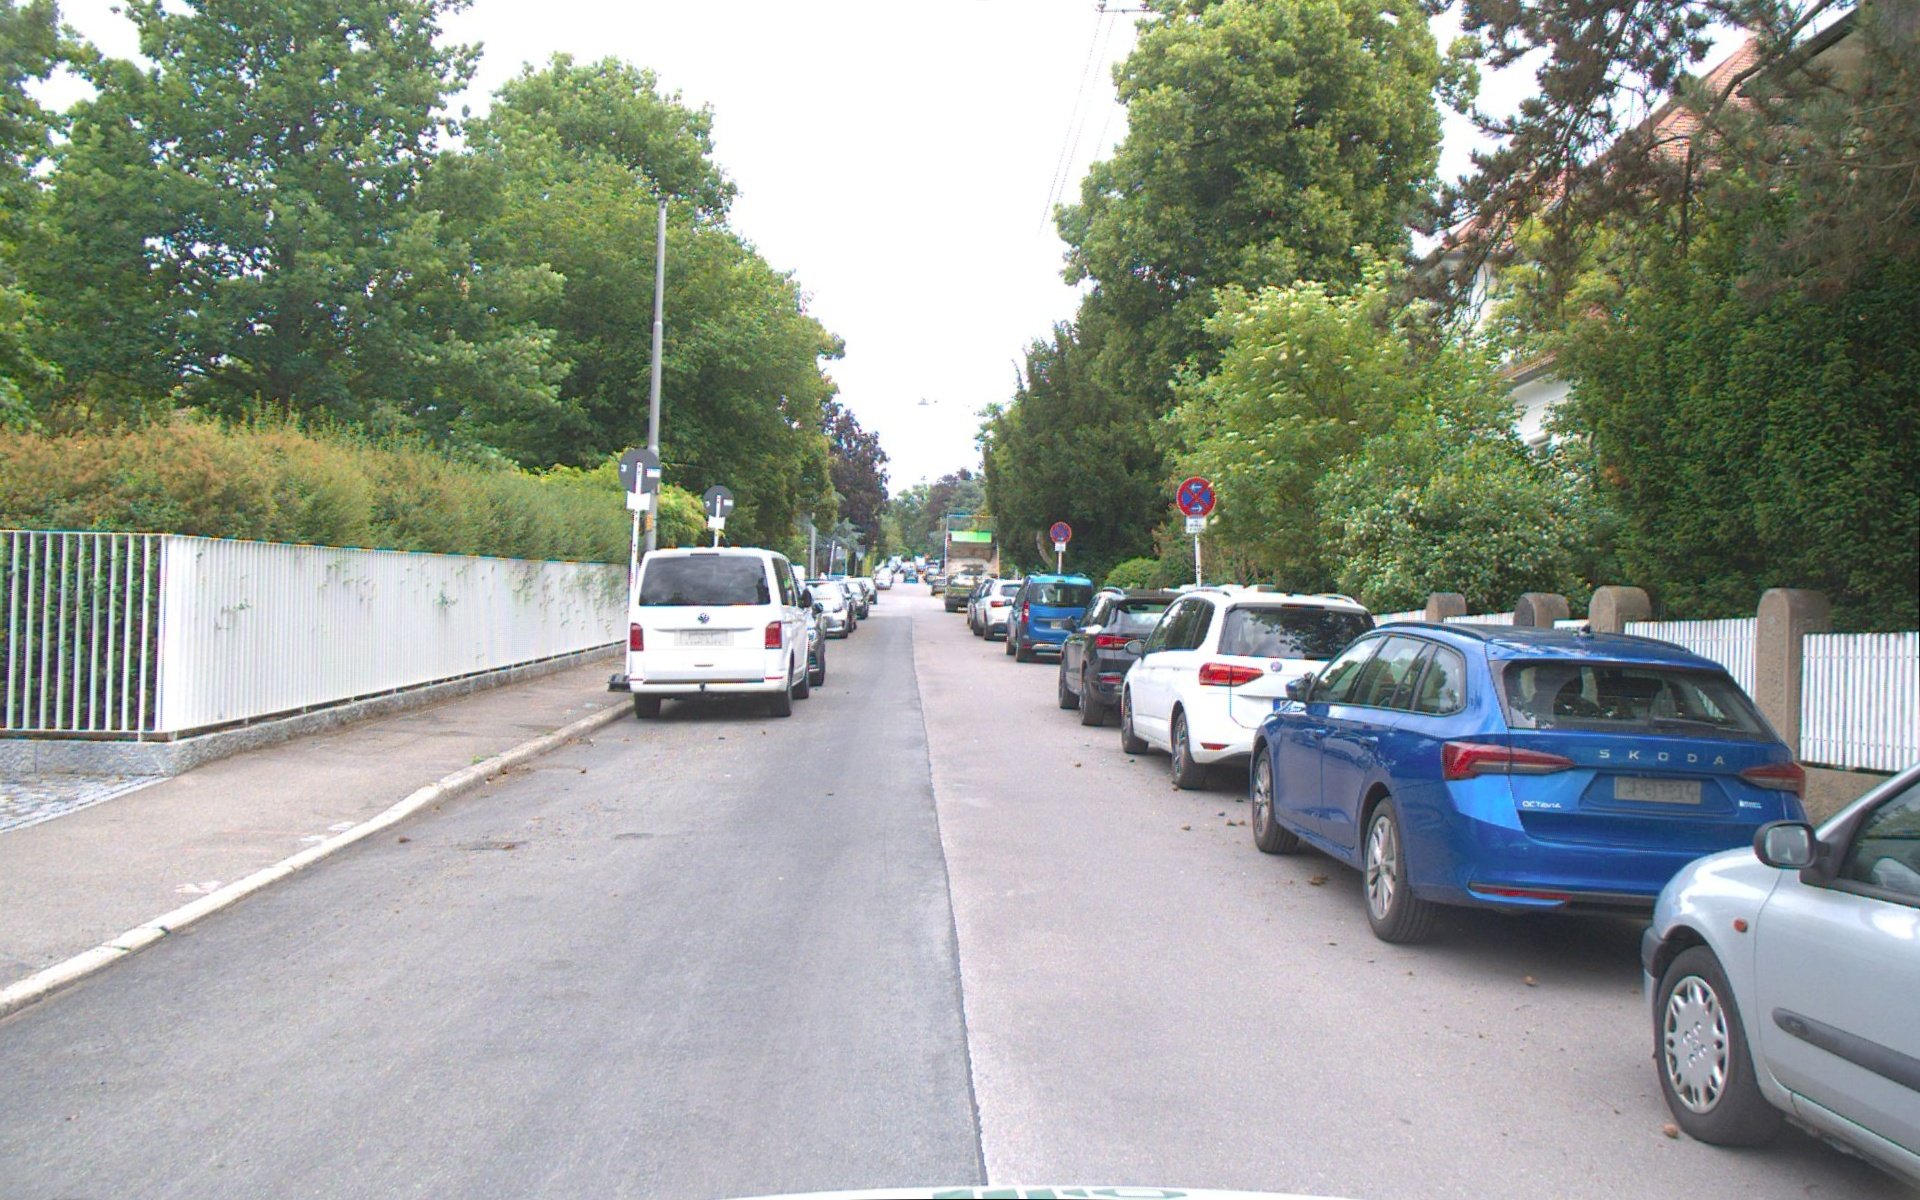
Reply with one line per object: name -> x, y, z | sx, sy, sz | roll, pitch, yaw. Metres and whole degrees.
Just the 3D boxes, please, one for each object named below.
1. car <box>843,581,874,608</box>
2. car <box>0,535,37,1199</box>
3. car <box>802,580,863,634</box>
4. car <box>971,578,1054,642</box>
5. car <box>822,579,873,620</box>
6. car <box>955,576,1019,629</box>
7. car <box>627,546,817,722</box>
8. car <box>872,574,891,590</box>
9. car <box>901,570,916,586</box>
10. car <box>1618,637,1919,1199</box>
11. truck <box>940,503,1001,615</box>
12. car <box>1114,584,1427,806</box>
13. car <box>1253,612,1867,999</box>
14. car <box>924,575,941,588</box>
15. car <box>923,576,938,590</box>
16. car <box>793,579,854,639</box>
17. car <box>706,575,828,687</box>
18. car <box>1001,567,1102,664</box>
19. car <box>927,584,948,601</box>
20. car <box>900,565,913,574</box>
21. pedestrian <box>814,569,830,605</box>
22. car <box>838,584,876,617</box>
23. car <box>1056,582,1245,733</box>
car -> -5.496, -0.322, 89.800 | 1.604, 1.419, 3.986 | -1, 1, -3
car -> -2.457, 0.709, 1.587 | 1.412, 1.579, 2.771 | -2, 0, 5
car -> -3.813, 0.173, 49.936 | 1.621, 1.507, 3.887 | -1, 1, -1
car -> 1.414, 0.250, 46.244 | 1.723, 1.634, 4.570 | 2, 0, -5
car -> -4.245, -0.041, 63.042 | 1.607, 1.447, 4.549 | -1, 1, 0
car -> 0.818, 0.050, 52.328 | 1.664, 1.598, 4.305 | 1, 0, -4
car -> -2.873, 0.378, 20.889 | 1.817, 1.947, 4.618 | -1, 0, -2
car -> -7.885, -1.811, 166.163 | 1.676, 1.613, 4.001 | 2, 0, 1
car -> -6.122, -2.599, 195.921 | 1.601, 1.731, 3.493 | 2, 1, -3
car -> 3.042, 0.881, 3.714 | 1.542, 1.424, 3.654 | 3, 0, -2
truck -> 0.432, -1.851, 76.785 | 2.473, 4.831, 7.185 | 2, 0, -1
car -> 2.620, 0.729, 15.016 | 1.749, 1.631, 4.302 | 3, 0, -3
car -> 2.782, 0.846, 8.689 | 1.614, 1.484, 4.050 | 3, 0, -2
car -> -3.184, -2.097, 190.029 | 1.774, 1.358, 3.631 | 3, 2, -3
car -> -3.513, -2.039, 198.917 | 1.753, 1.556, 3.734 | 2, 1, -1
car -> -3.745, 0.210, 45.215 | 1.590, 1.560, 2.959 | -1, 1, -5
car -> -3.025, 0.441, 26.636 | 1.755, 1.651, 4.339 | 0, 1, -4
car -> 1.894, 0.283, 35.408 | 1.649, 1.861, 4.155 | 3, 1, -3
car -> -1.998, -0.668, 146.521 | 1.743, 1.515, 3.998 | 1, 0, -3
car -> -8.339, -4.746, 257.386 | 1.692, 1.432, 3.805 | 1, 0, 2
pedestrian -> -8.025, -0.774, 96.158 | 0.836, 2.048, 0.700 | 3, 0, -7
car -> -4.645, -0.003, 74.993 | 1.563, 1.458, 3.999 | -1, 1, -1
car -> 2.296, 0.661, 20.927 | 1.715, 1.636, 4.074 | 3, 0, -2
